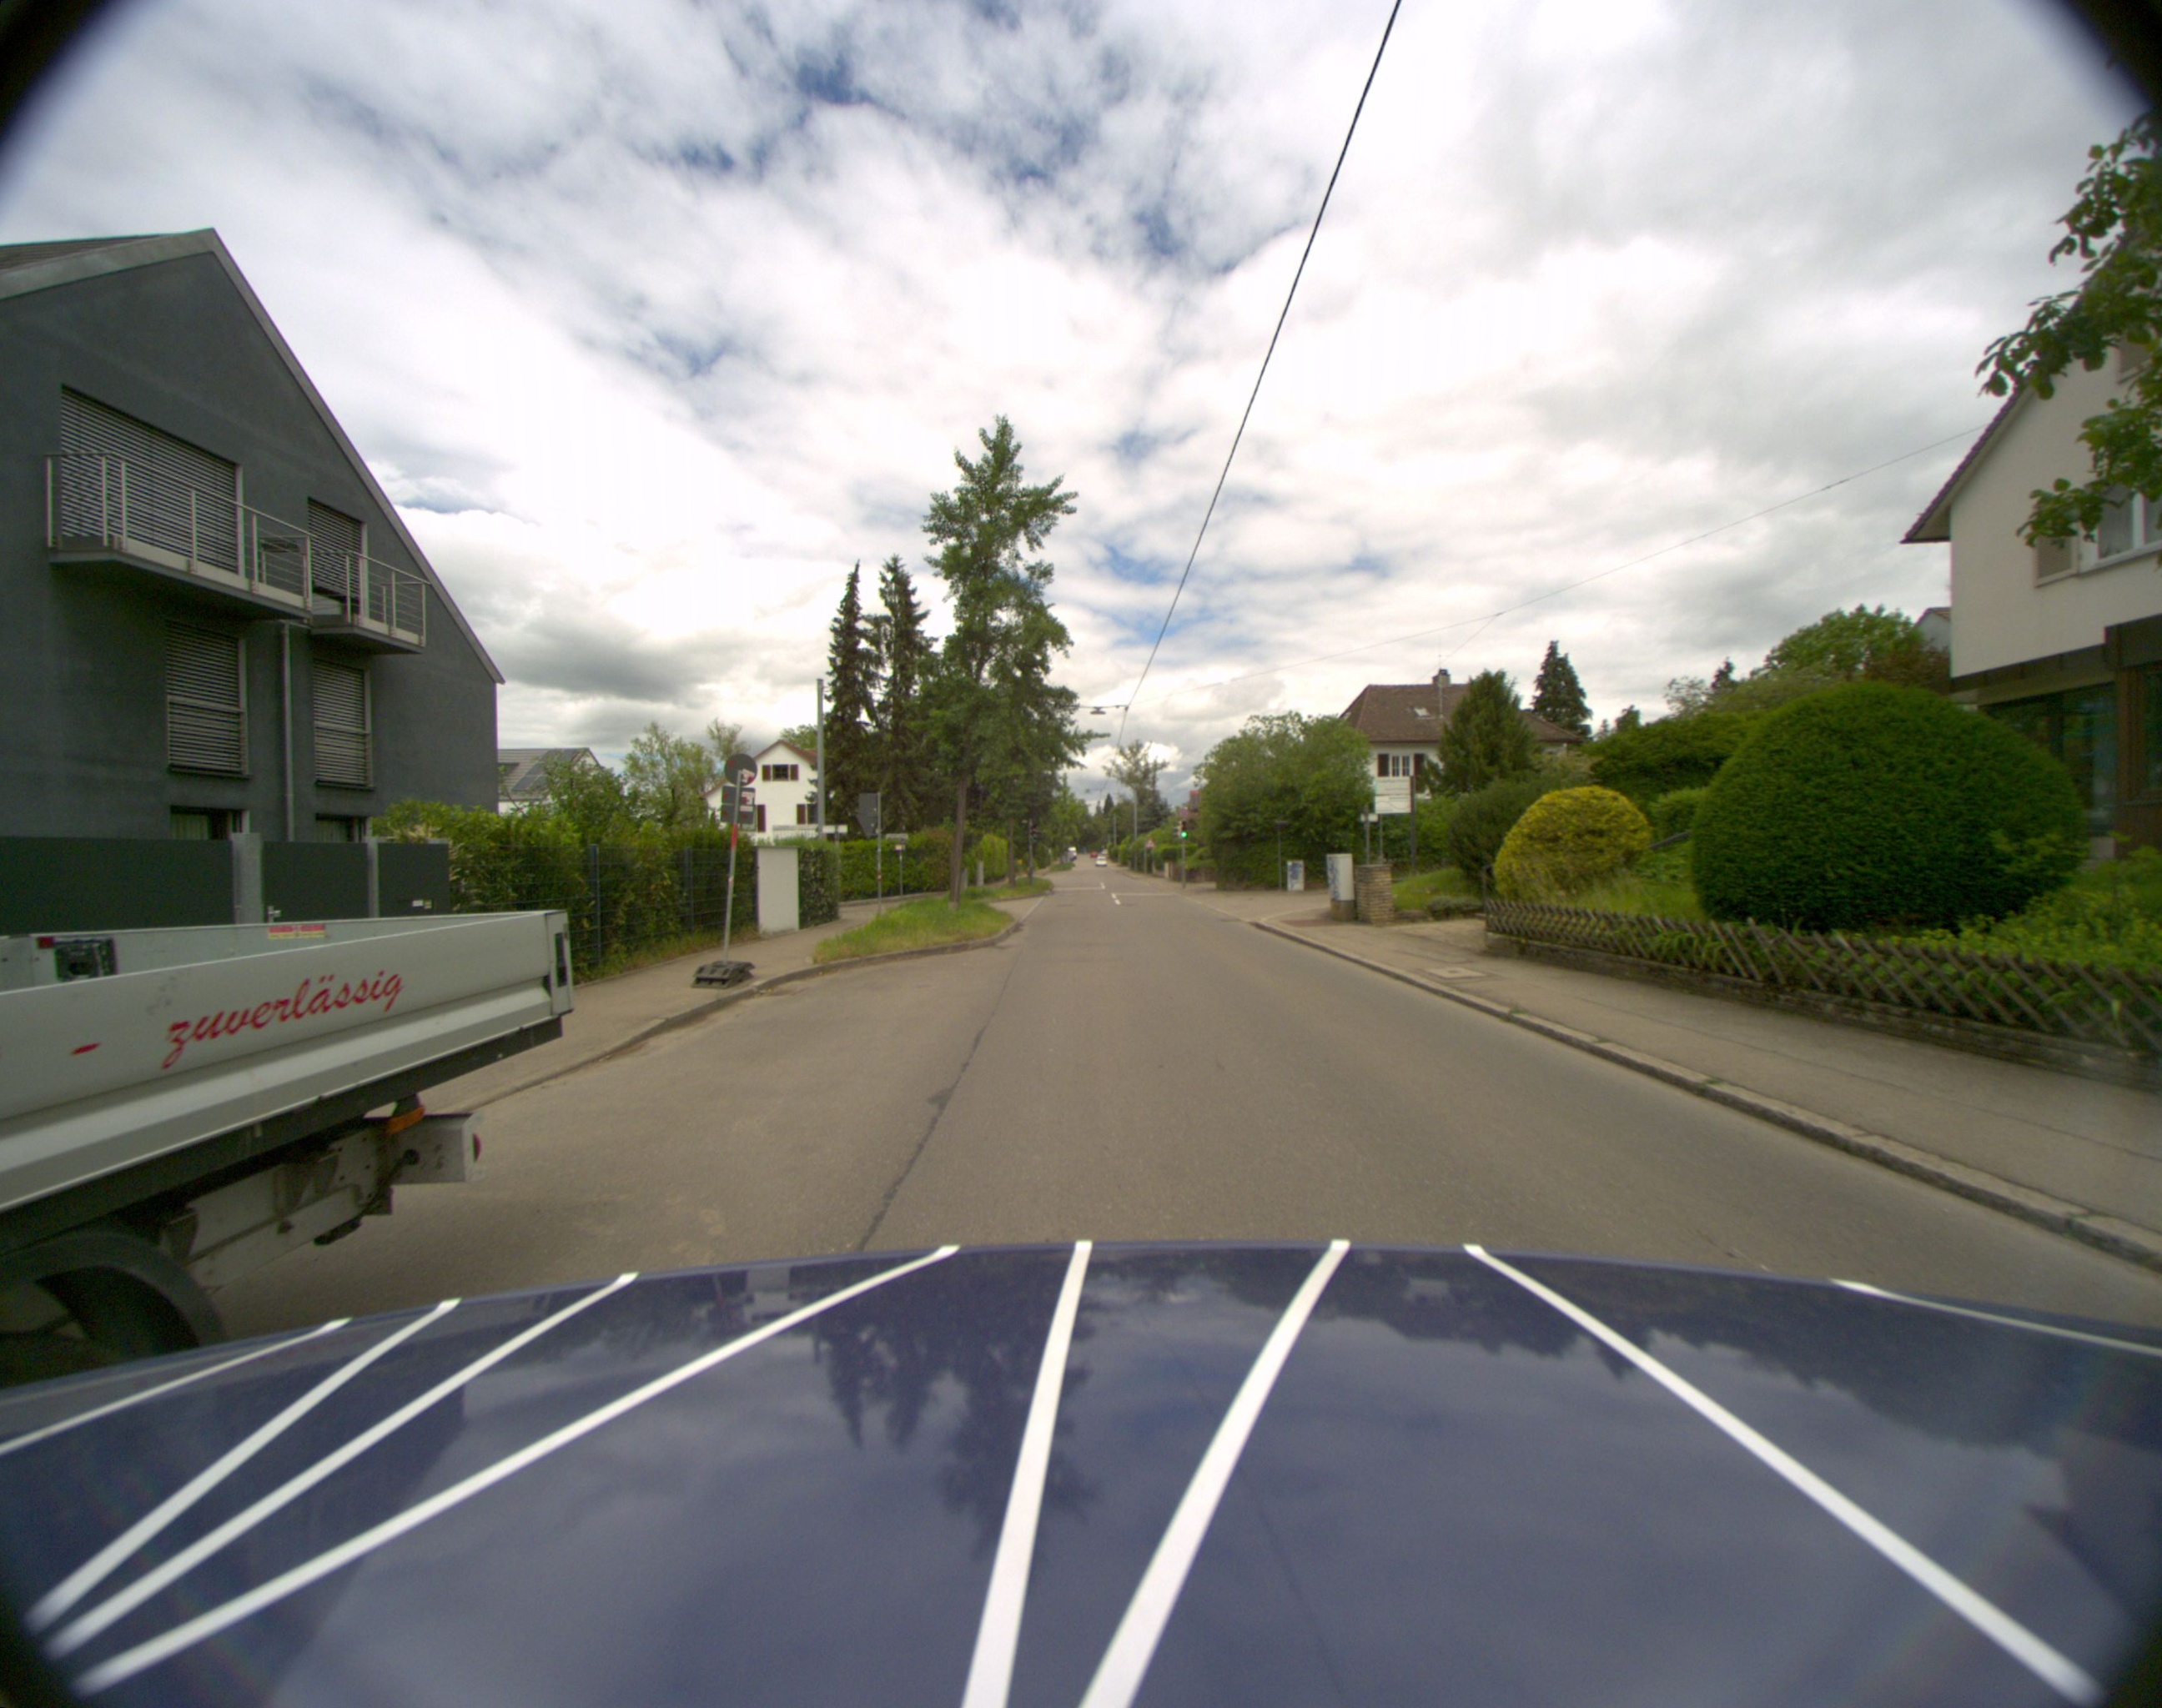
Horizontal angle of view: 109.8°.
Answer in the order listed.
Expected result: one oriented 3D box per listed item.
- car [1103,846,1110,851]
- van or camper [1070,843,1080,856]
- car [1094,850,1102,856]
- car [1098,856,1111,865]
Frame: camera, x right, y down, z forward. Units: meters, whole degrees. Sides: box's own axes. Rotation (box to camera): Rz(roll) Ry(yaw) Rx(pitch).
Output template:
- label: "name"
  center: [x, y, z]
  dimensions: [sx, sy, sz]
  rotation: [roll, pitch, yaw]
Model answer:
- label: "car"
  center: [7.276, -1.543, 213.813]
  dimensions: [1.810, 1.423, 4.300]
  rotation: [0, 0, 0]
- label: "van or camper"
  center: [-1.378, -1.060, 171.709]
  dimensions: [2.046, 2.605, 7.036]
  rotation: [-2, 2, -1]
- label: "car"
  center: [4.057, -0.299, 182.801]
  dimensions: [1.810, 1.423, 4.117]
  rotation: [2, 0, -1]
- label: "car"
  center: [3.819, 1.032, 124.630]
  dimensions: [1.859, 1.443, 4.281]
  rotation: [1, 0, -1]
